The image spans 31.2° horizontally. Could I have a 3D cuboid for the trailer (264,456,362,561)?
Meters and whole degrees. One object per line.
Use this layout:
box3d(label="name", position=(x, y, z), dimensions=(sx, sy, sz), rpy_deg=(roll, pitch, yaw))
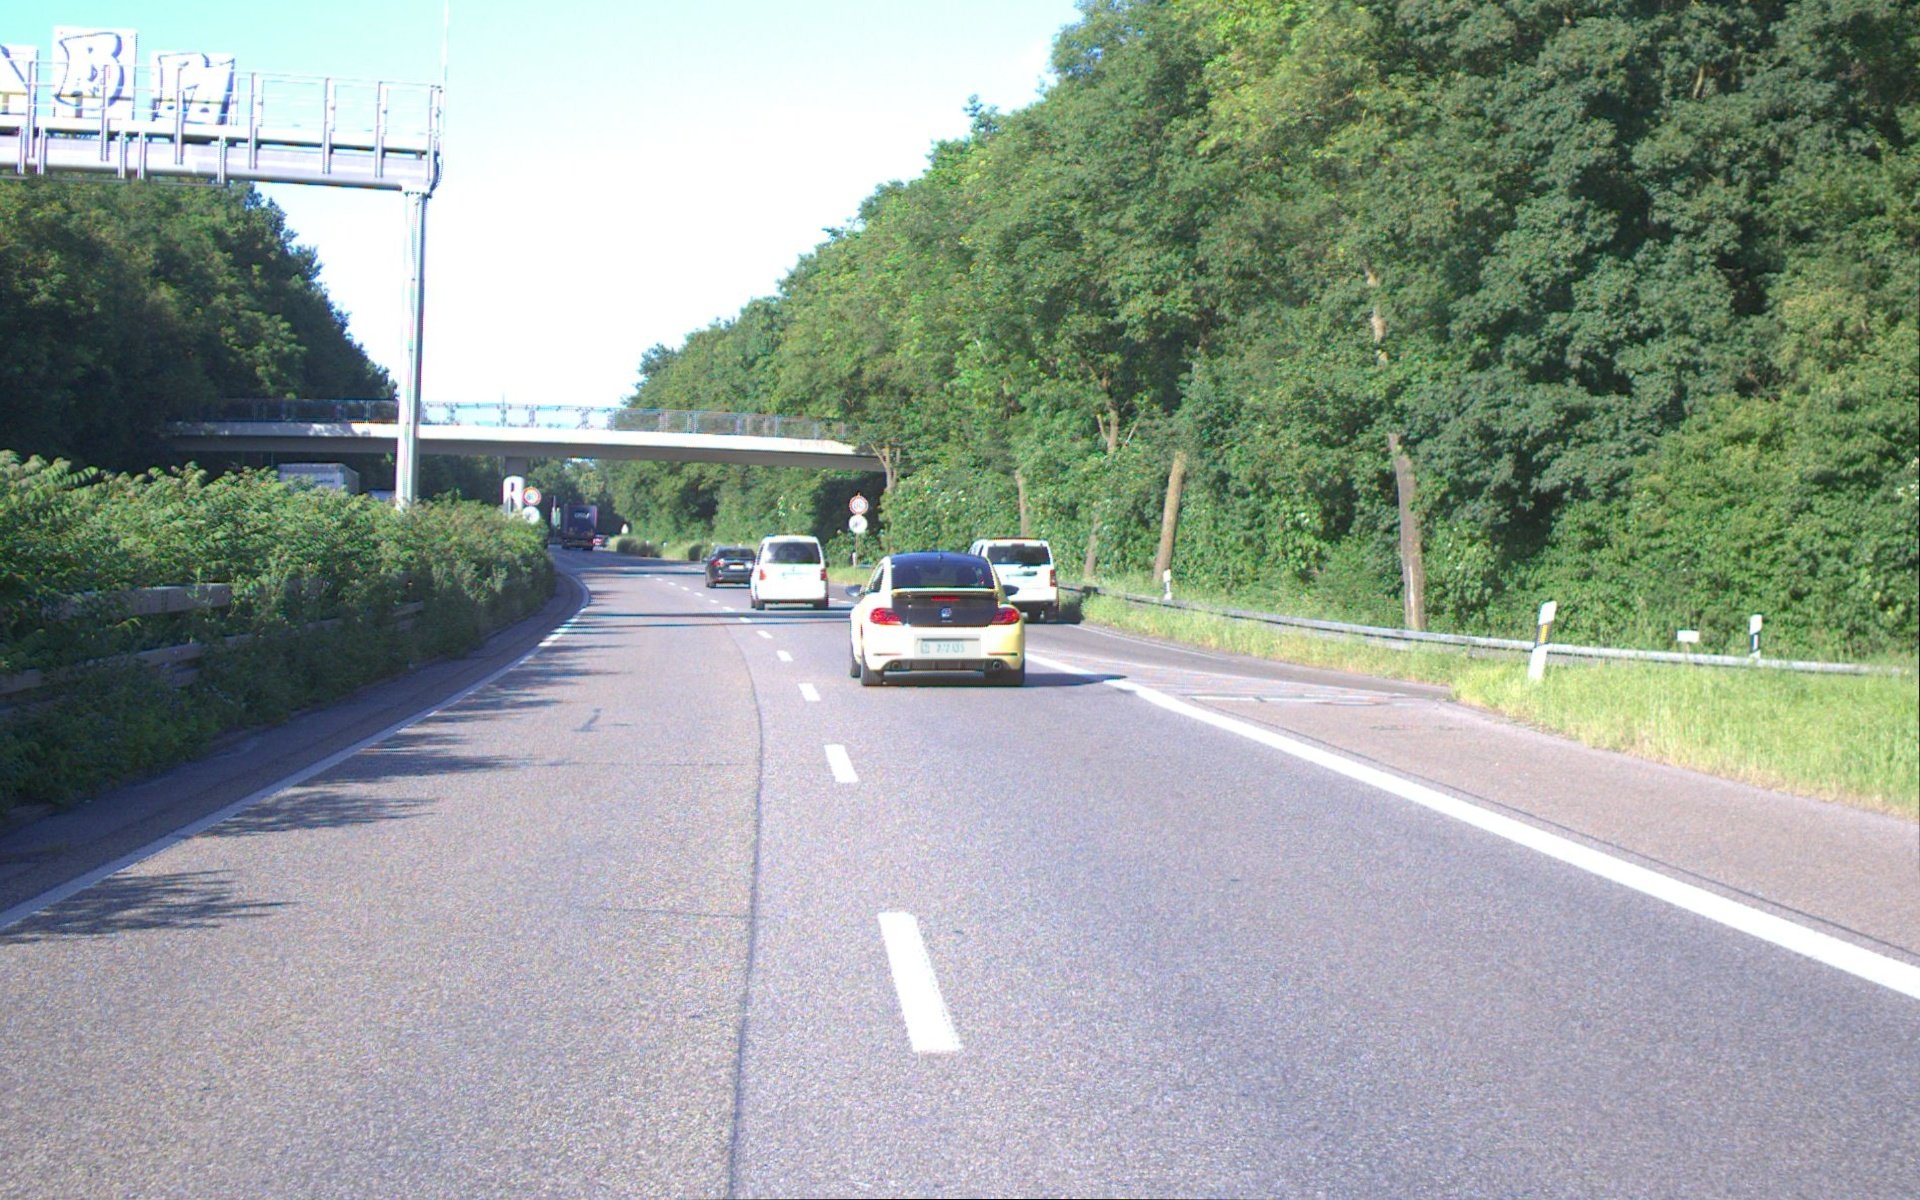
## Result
box3d(label="trailer", position=(-26.534, -3.681, 141.537), dimensions=(2.737, 4.013, 14.078), rpy_deg=(2, 1, -6))

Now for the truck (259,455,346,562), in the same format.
box3d(label="truck", position=(-25.828, -3.573, 135.280), dimensions=(2.737, 4.013, 6.181), rpy_deg=(2, 1, -6))

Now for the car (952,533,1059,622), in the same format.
box3d(label="car", position=(0.942, -0.498, 73.036), dimensions=(1.897, 1.817, 4.001), rpy_deg=(1, 1, -4))

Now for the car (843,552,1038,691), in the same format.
box3d(label="car", position=(-0.277, 0.208, 38.780), dimensions=(1.897, 1.466, 4.001), rpy_deg=(1, 1, -5))

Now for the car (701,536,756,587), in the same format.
box3d(label="car", position=(-8.156, -1.360, 121.388), dimensions=(1.897, 1.761, 4.001), rpy_deg=(1, 1, -3))

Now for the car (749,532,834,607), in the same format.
box3d(label="car", position=(-4.136, -0.750, 83.750), dimensions=(1.897, 1.761, 4.001), rpy_deg=(1, 1, -5))
